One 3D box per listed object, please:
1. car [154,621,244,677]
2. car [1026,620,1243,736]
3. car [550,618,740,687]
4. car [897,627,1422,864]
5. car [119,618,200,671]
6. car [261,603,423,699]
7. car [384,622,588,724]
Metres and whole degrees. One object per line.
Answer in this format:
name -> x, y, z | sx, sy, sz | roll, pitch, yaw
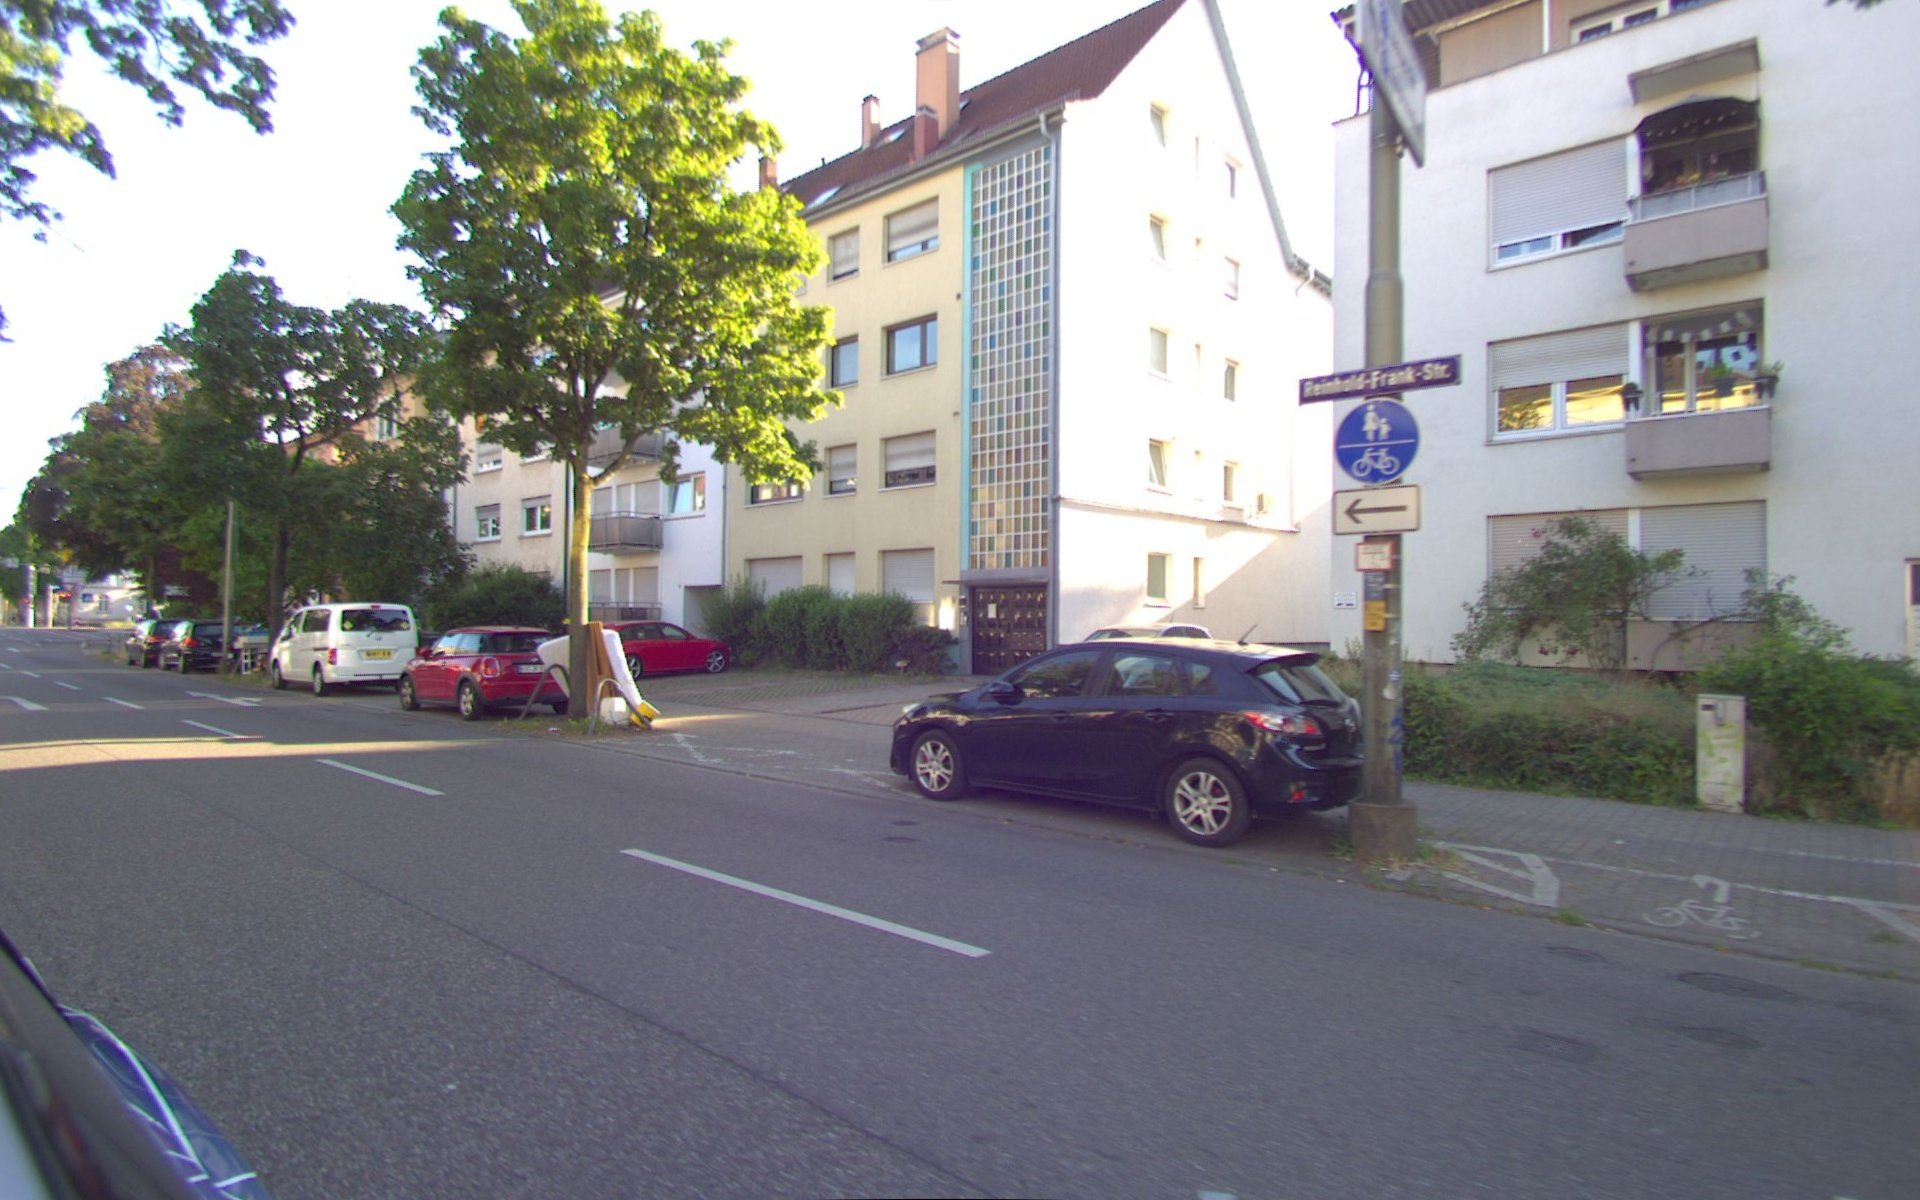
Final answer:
car -> -21.495, 1.331, 28.541 | 3.682, 1.416, 1.388 | 0, 0, 42
car -> 2.718, 1.086, 15.294 | 1.686, 1.535, 3.422 | -1, -2, 42
car -> -7.657, 1.215, 25.039 | 1.735, 1.416, 4.516 | 0, 0, 31
car -> 1.509, 0.996, 8.548 | 4.000, 1.497, 1.837 | -1, -2, 43
car -> -24.696, 1.323, 31.195 | 3.682, 1.475, 1.388 | 0, 0, 42
car -> -13.061, 1.015, 21.291 | 4.190, 1.823, 1.717 | -1, -2, 41
car -> -7.866, 1.110, 16.684 | 3.634, 1.475, 1.717 | -1, -2, 41
